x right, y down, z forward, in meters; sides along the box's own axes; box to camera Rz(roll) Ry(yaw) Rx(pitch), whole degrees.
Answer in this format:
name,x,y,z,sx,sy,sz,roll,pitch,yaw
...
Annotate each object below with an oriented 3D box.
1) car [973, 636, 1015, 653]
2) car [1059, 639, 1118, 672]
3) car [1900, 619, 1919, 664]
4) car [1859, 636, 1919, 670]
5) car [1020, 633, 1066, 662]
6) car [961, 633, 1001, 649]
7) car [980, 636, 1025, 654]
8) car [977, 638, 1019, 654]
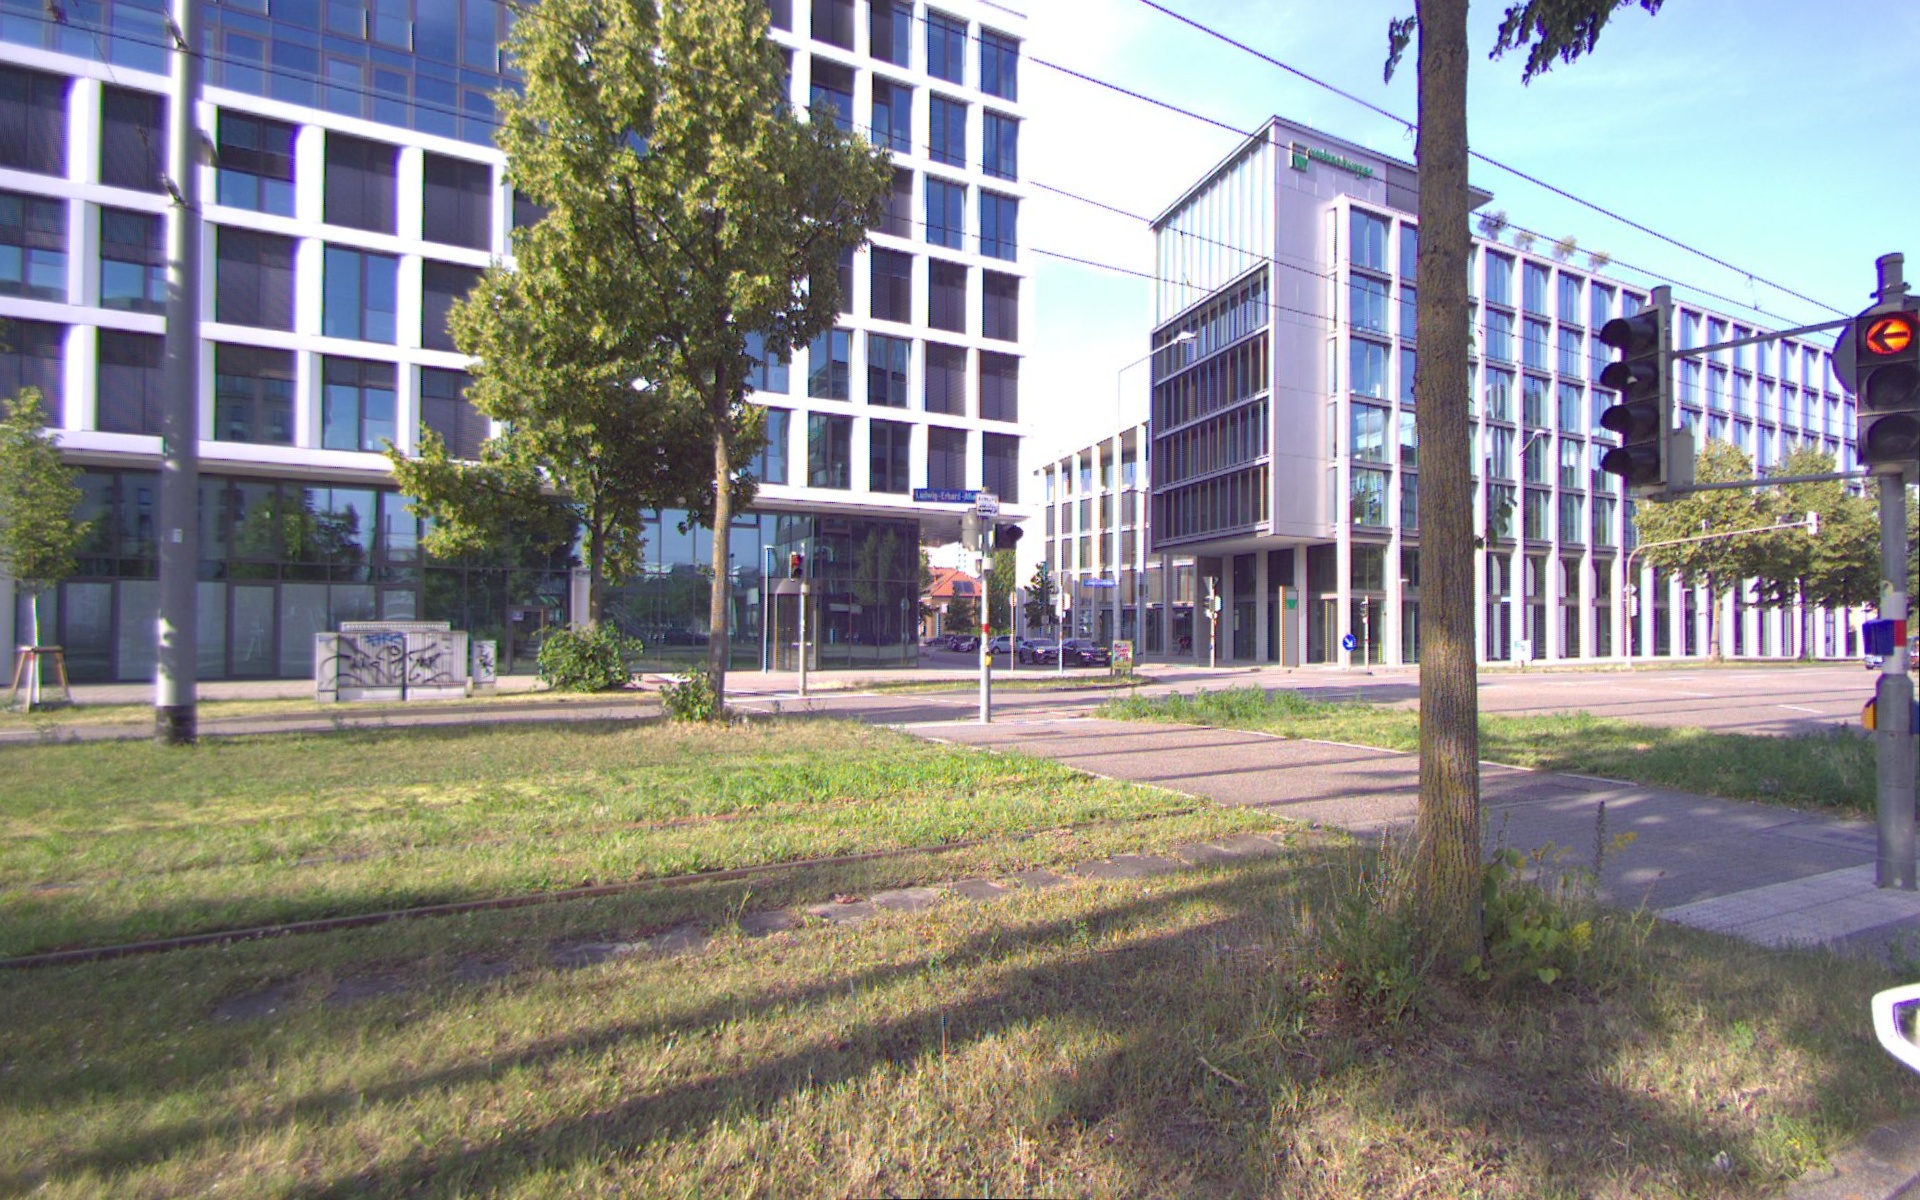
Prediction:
name,x,y,z,sx,sy,sz,roll,pitch,yaw
car,3.140,4.108,92.904,3.614,1.416,1.550,2,0,-14
car,6.495,2.784,51.082,1.551,1.443,3.498,2,0,-19
car,40.405,1.713,41.275,3.840,1.799,1.674,2,0,-33
car,43.822,2.461,46.999,3.913,1.462,1.629,2,0,-33
car,4.767,2.727,58.107,1.548,1.443,3.668,2,0,-14
car,2.018,3.926,96.439,3.614,1.416,1.550,2,0,-14
car,3.639,3.865,86.650,3.535,1.417,1.524,2,0,-14
car,3.383,4.092,89.713,3.535,1.313,1.524,2,0,-14
